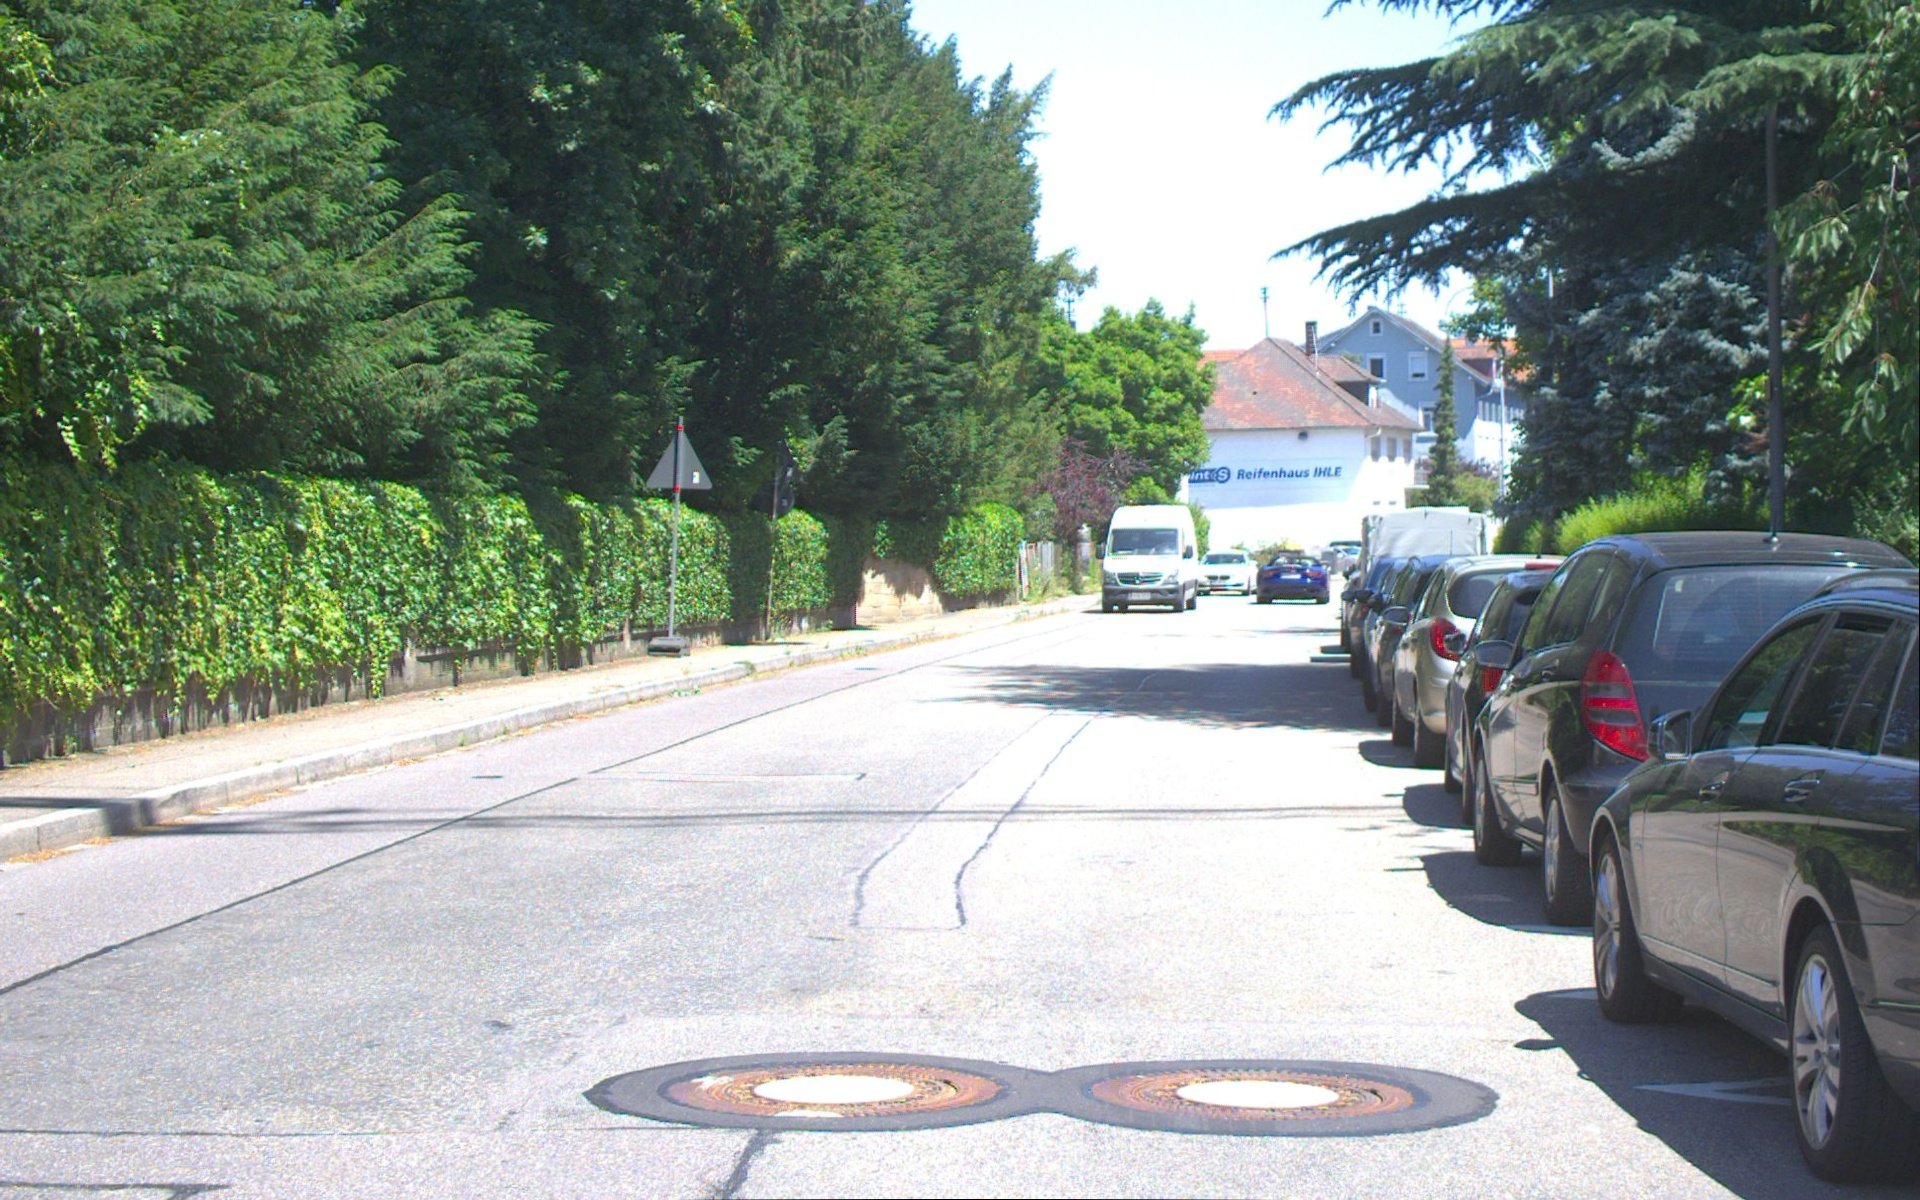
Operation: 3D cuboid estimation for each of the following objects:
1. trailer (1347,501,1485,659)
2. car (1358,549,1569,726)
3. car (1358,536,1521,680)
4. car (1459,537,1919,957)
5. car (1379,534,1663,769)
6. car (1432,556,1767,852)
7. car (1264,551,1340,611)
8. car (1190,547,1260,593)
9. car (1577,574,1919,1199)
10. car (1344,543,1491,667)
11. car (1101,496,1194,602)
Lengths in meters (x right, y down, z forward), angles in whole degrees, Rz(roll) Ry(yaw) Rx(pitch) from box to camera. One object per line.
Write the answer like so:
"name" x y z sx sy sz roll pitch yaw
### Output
"trailer" 6.213 -0.313 47.138 1.680 2.061 3.708 1 1 5
"car" 4.394 0.282 30.484 1.615 1.446 4.374 0 1 5
"car" 5.111 0.046 37.015 1.615 1.464 4.063 0 1 6
"car" 3.164 0.521 15.091 1.581 1.570 4.008 0 1 3
"car" 4.033 0.331 25.238 1.615 1.507 4.064 3 1 4
"car" 3.654 0.522 20.187 1.582 1.438 4.007 3 2 6
"car" 9.305 -0.536 93.413 1.795 1.505 3.999 2 1 9
"car" 8.438 -0.968 109.151 1.865 1.379 4.603 0 1 9
"car" 2.869 0.671 9.307 1.662 1.427 4.204 0 1 0
"car" 5.466 0.033 41.414 1.615 1.391 4.258 1 1 6
"car" 4.660 -1.245 84.770 1.994 2.524 5.893 0 1 6
